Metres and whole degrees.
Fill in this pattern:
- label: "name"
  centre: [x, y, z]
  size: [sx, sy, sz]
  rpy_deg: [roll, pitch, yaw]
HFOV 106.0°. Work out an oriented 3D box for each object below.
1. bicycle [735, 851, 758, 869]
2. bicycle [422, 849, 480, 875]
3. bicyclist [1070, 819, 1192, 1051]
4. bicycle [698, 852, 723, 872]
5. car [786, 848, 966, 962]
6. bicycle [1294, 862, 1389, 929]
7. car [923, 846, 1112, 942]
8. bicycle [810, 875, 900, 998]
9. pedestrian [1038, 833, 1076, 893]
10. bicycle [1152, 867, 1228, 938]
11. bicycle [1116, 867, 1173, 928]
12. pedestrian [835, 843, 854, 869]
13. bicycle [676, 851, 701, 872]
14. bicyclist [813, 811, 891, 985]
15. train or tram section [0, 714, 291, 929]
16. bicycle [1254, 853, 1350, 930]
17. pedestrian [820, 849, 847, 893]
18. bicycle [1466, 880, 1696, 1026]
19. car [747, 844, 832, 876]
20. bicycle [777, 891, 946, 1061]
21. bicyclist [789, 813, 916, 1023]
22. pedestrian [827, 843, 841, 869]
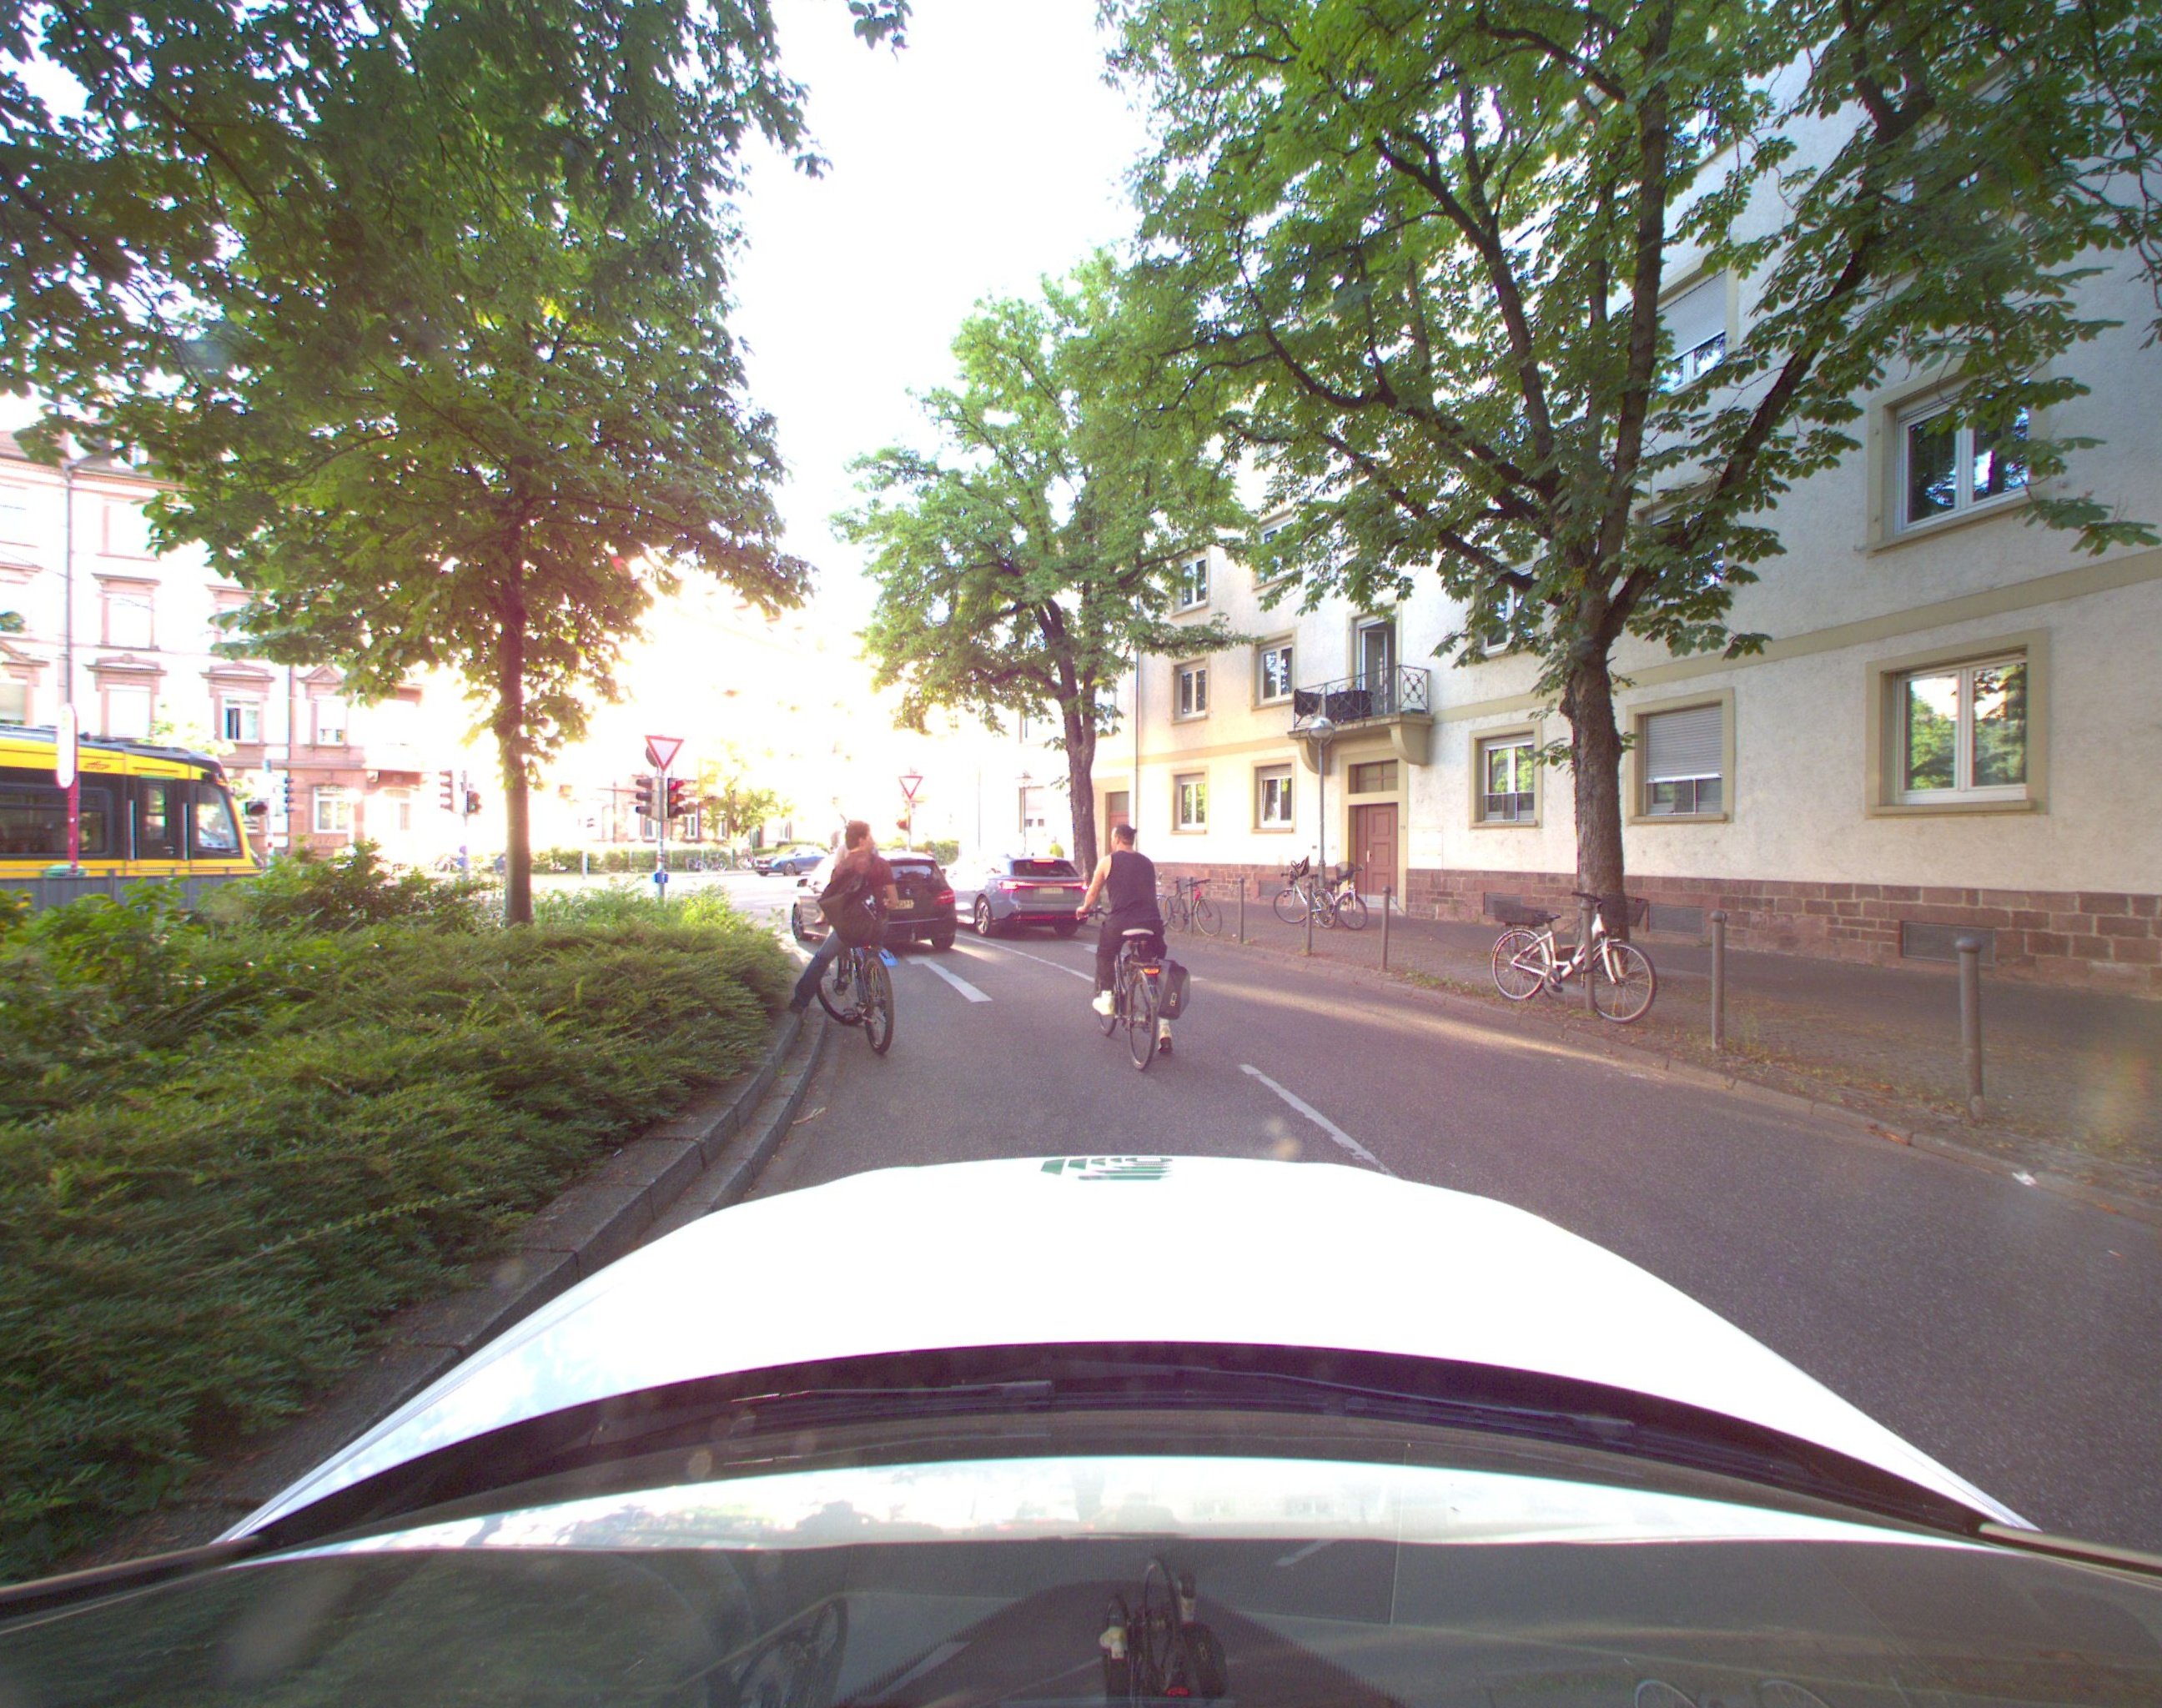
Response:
- label: "bicycle"
  centre: [-19.764, 0.365, 48.142]
  size: [0.438, 1.038, 1.240]
  rpy_deg: [1, 1, 24]
- label: "bicycle"
  centre: [-28.124, 0.380, 36.383]
  size: [1.975, 1.107, 0.438]
  rpy_deg: [2, -1, -38]
- label: "bicyclist"
  centre: [0.365, 0.575, 6.381]
  size: [0.687, 1.656, 0.985]
  rpy_deg: [-1, 0, -13]
- label: "bicycle"
  centre: [-20.796, 0.431, 45.732]
  size: [0.438, 1.107, 1.241]
  rpy_deg: [1, 1, 25]
- label: "car"
  centre: [-3.510, 0.702, 13.441]
  size: [1.802, 1.542, 3.821]
  rpy_deg: [-2, 1, -32]
- label: "bicycle"
  centre: [4.717, 0.718, 14.915]
  size: [0.669, 1.107, 1.955]
  rpy_deg: [1, 0, -17]
- label: "car"
  centre: [-1.414, 0.686, 15.953]
  size: [1.982, 1.585, 4.433]
  rpy_deg: [2, -1, -29]
- label: "bicycle"
  centre: [-2.685, 0.871, 9.508]
  size: [0.813, 1.184, 2.211]
  rpy_deg: [0, 0, -21]
- label: "pedestrian"
  centre: [-0.716, 0.263, 24.246]
  size: [0.648, 1.727, 0.878]
  rpy_deg: [-3, 2, -39]
- label: "bicycle"
  centre: [1.912, 0.828, 14.478]
  size: [0.528, 1.107, 1.728]
  rpy_deg: [-3, 2, -21]
- label: "bicycle"
  centre: [1.234, 0.827, 16.098]
  size: [0.482, 1.063, 1.625]
  rpy_deg: [-2, 2, -20]
- label: "pedestrian"
  centre: [-15.553, 0.153, 53.500]
  size: [0.703, 1.664, 0.904]
  rpy_deg: [4, 2, 36]
- label: "bicycle"
  centre: [-21.423, 0.400, 44.443]
  size: [0.438, 1.107, 1.241]
  rpy_deg: [1, 1, 25]
- label: "bicyclist"
  centre: [-2.694, 0.478, 9.533]
  size: [0.797, 1.913, 0.938]
  rpy_deg: [1, 0, -21]
- label: "train or tram section"
  centre: [-20.184, -0.557, 12.275]
  size: [2.769, 3.619, 11.857]
  rpy_deg: [1, 0, 19]
- label: "bicycle"
  centre: [4.005, 0.636, 14.915]
  size: [0.719, 1.277, 1.954]
  rpy_deg: [-1, 1, -18]
- label: "pedestrian"
  centre: [-9.620, 0.647, 31.626]
  size: [0.904, 1.635, 0.721]
  rpy_deg: [2, 1, -19]
- label: "bicycle"
  centre: [4.543, 0.834, 7.594]
  size: [0.514, 1.095, 1.962]
  rpy_deg: [-2, 1, -18]
- label: "car"
  centre: [-15.580, 0.294, 43.764]
  size: [1.926, 1.650, 4.432]
  rpy_deg: [0, 0, 19]
- label: "bicycle"
  centre: [-1.902, 0.916, 6.831]
  size: [0.722, 1.107, 1.945]
  rpy_deg: [1, 0, -36]
- label: "bicyclist"
  centre: [-1.900, 0.479, 6.715]
  size: [0.712, 1.573, 0.946]
  rpy_deg: [1, 0, -36]
- label: "pedestrian"
  centre: [-16.369, 0.119, 54.009]
  size: [0.655, 1.715, 0.640]
  rpy_deg: [0, 0, 32]
